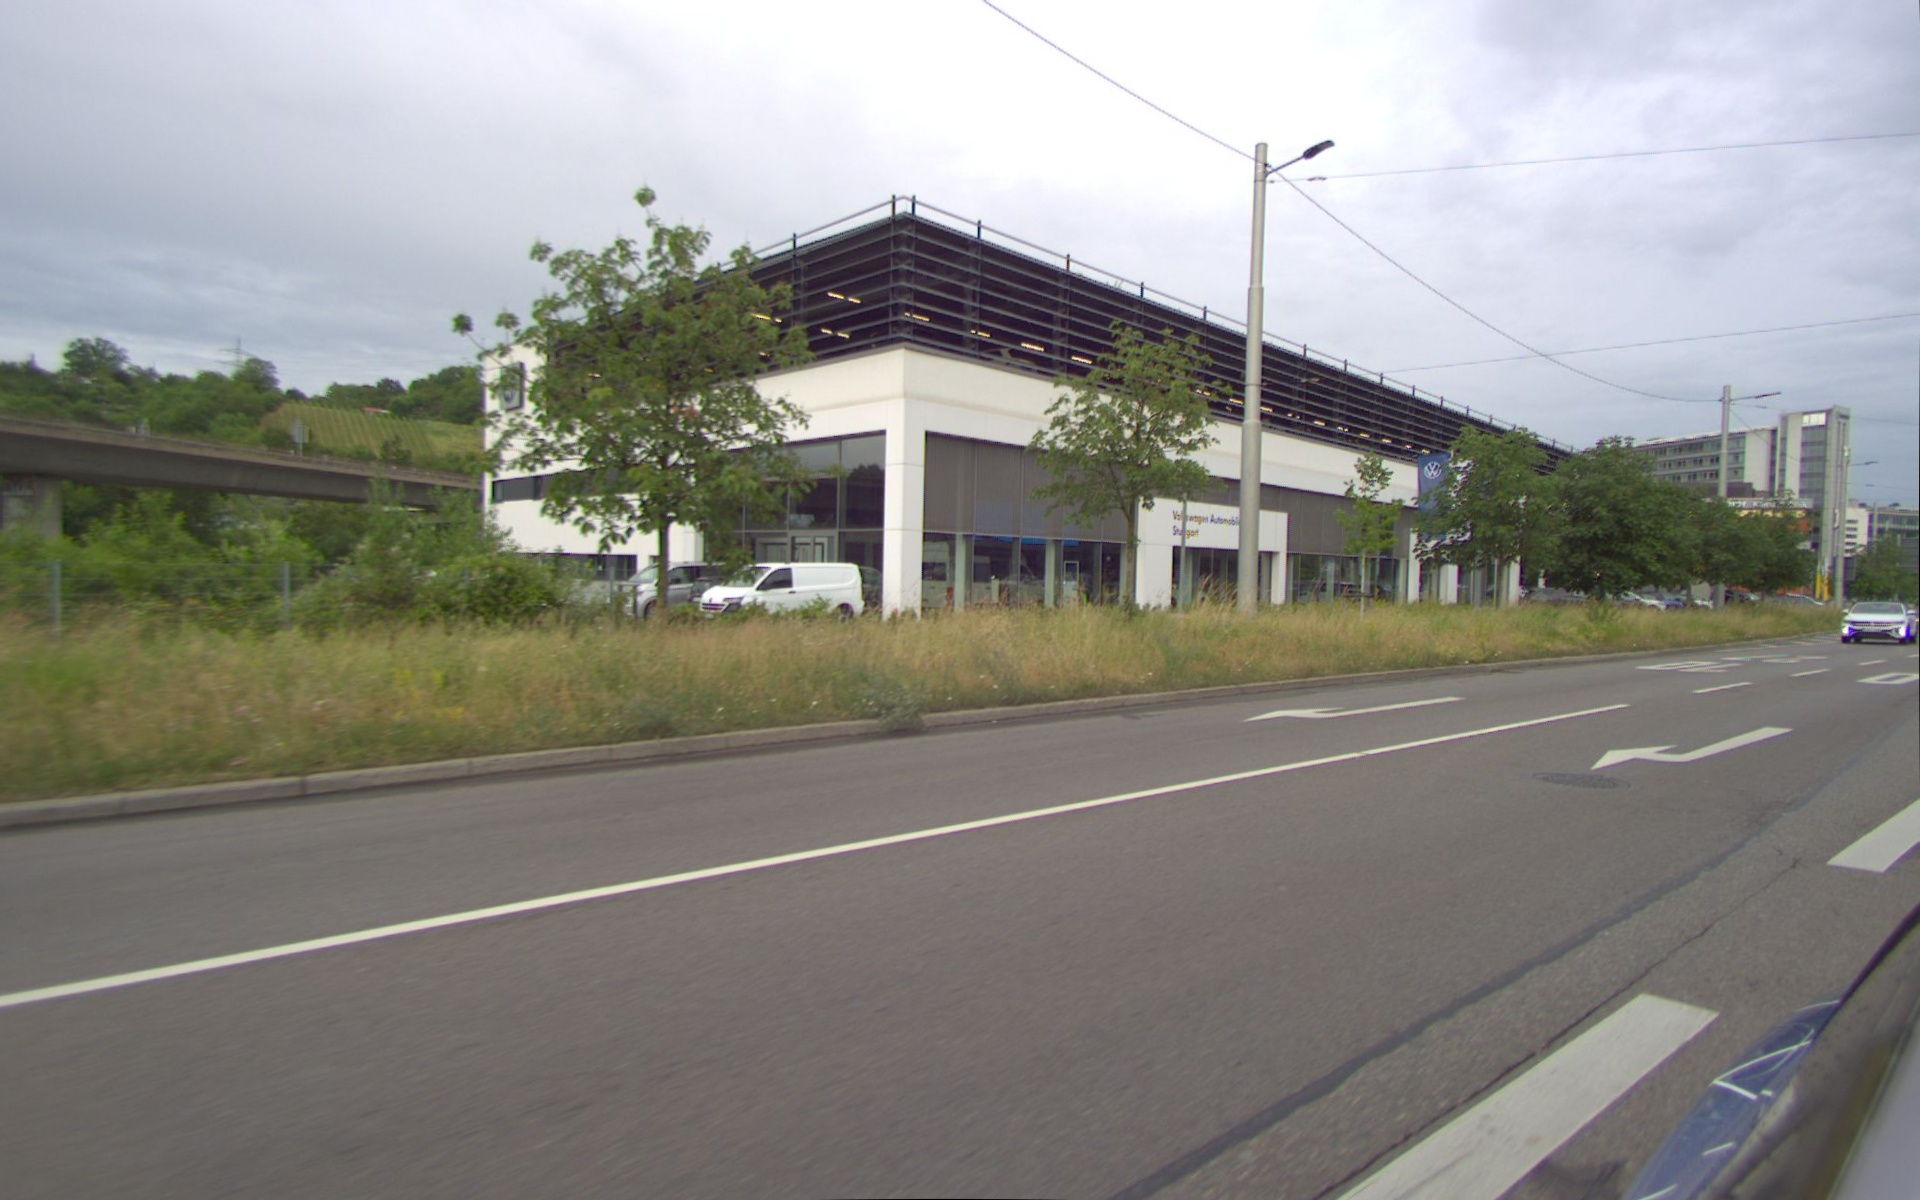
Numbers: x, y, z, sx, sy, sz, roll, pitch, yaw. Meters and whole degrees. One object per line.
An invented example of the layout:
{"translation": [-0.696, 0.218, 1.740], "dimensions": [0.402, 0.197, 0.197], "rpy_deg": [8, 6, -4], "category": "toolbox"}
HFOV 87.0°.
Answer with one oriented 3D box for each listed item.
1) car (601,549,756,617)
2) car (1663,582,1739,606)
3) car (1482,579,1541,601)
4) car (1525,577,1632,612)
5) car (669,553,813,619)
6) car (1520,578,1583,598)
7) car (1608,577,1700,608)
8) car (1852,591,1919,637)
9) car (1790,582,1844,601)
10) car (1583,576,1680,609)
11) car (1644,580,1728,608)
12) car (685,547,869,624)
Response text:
{"translation": [-9.235, -0.530, 33.432], "dimensions": [1.945, 2.076, 4.633], "rpy_deg": [0, 0, 43], "category": "car"}
{"translation": [53.890, -0.435, 73.664], "dimensions": [4.039, 1.483, 1.742], "rpy_deg": [3, 3, 13], "category": "car"}
{"translation": [44.074, -0.796, 80.909], "dimensions": [1.612, 1.607, 3.819], "rpy_deg": [0, 3, -45], "category": "car"}
{"translation": [33.686, -0.346, 55.269], "dimensions": [4.562, 1.587, 1.844], "rpy_deg": [3, 3, 16], "category": "car"}
{"translation": [-6.726, -0.405, 31.328], "dimensions": [3.933, 1.924, 1.995], "rpy_deg": [0, 0, -44], "category": "car"}
{"translation": [47.037, -0.945, 80.515], "dimensions": [1.755, 1.527, 3.992], "rpy_deg": [0, 0, -42], "category": "car"}
{"translation": [42.139, -0.479, 61.522], "dimensions": [4.125, 1.587, 1.794], "rpy_deg": [3, 3, 12], "category": "car"}
{"translation": [33.300, 0.472, 36.110], "dimensions": [3.772, 1.513, 1.876], "rpy_deg": [0, 1, -44], "category": "car"}
{"translation": [103.014, -1.029, 121.706], "dimensions": [4.460, 2.015, 1.804], "rpy_deg": [4, 3, 28], "category": "car"}
{"translation": [39.396, -0.466, 59.475], "dimensions": [4.295, 1.645, 1.848], "rpy_deg": [3, 3, 16], "category": "car"}
{"translation": [47.812, -0.402, 66.702], "dimensions": [4.033, 1.587, 1.795], "rpy_deg": [3, 3, 10], "category": "car"}
{"translation": [-5.190, -0.405, 29.229], "dimensions": [2.044, 2.039, 5.010], "rpy_deg": [2, 1, 44], "category": "car"}
